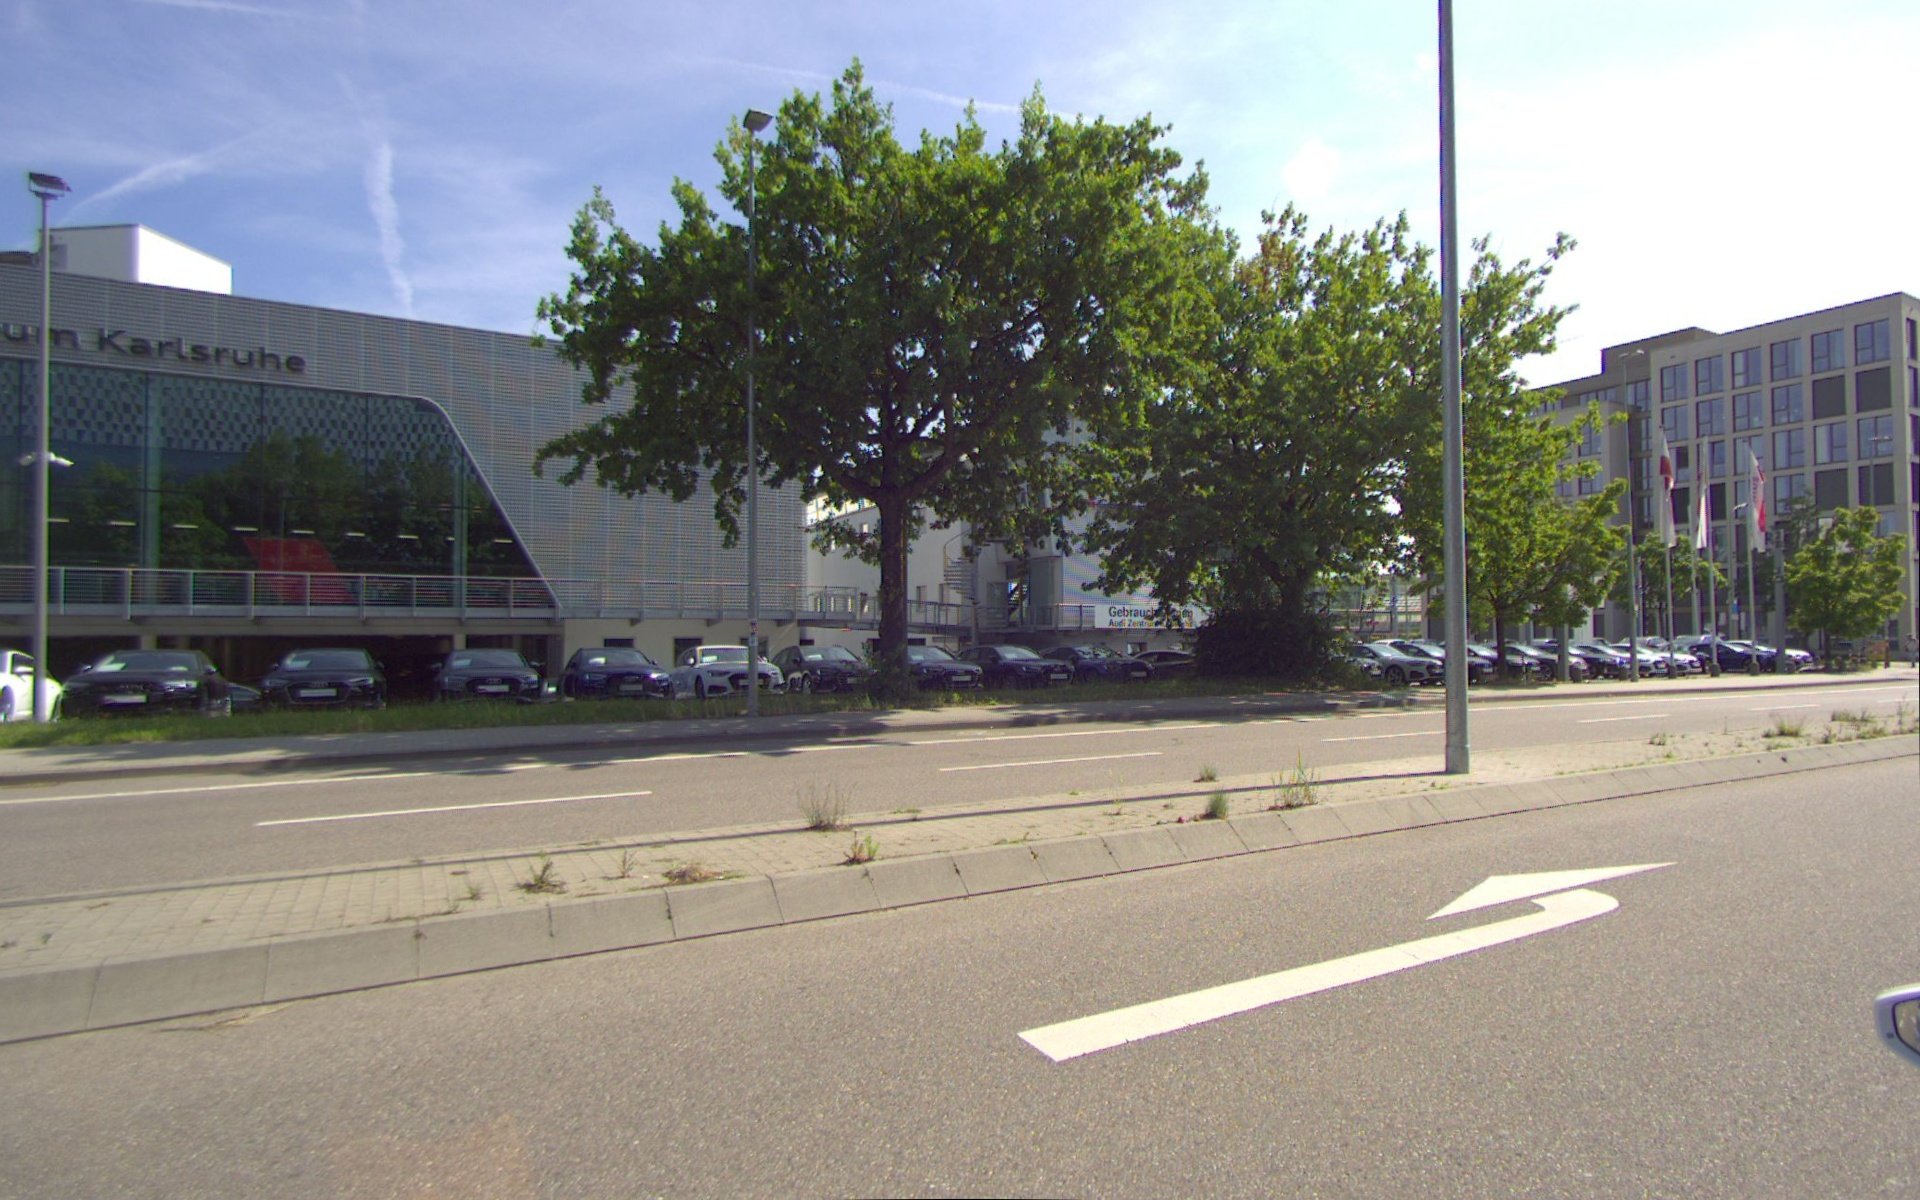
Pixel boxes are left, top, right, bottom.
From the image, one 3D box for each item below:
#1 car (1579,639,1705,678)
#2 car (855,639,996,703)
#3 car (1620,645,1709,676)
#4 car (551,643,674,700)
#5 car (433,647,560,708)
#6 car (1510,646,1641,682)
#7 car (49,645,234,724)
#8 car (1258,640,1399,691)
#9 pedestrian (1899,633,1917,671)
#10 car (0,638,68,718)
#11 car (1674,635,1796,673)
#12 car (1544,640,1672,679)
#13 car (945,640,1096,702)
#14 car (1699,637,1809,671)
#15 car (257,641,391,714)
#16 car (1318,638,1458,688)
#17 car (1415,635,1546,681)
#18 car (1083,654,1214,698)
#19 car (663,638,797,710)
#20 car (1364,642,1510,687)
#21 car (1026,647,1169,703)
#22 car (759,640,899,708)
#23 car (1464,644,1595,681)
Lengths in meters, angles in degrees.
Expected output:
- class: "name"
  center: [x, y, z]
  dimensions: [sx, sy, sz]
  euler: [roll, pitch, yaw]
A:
- class: "car"
  center: [27.811, 2.423, 41.110]
  dimensions: [1.725, 1.382, 3.864]
  euler: [0, -5, -26]
- class: "car"
  center: [-0.987, 1.850, 25.694]
  dimensions: [1.975, 1.460, 4.125]
  euler: [1, -6, -28]
- class: "car"
  center: [30.777, 2.649, 43.873]
  dimensions: [3.387, 1.189, 1.850]
  euler: [0, -5, -29]
- class: "car"
  center: [-7.505, 1.567, 21.460]
  dimensions: [1.678, 1.047, 4.089]
  euler: [1, -6, -31]
- class: "car"
  center: [-9.536, 1.621, 20.503]
  dimensions: [1.933, 1.091, 4.155]
  euler: [1, -6, -31]
- class: "car"
  center: [23.538, 2.484, 38.569]
  dimensions: [1.886, 1.181, 3.864]
  euler: [0, -5, -26]
- class: "car"
  center: [-14.317, 1.521, 17.841]
  dimensions: [1.933, 1.205, 4.155]
  euler: [1, -6, -31]
- class: "car"
  center: [11.611, 2.107, 31.890]
  dimensions: [1.886, 1.437, 3.977]
  euler: [0, -5, -26]
- class: "pedestrian"
  center: [50.833, 2.773, 53.879]
  dimensions: [0.569, 2.040, 0.556]
  euler: [1, -1, -28]
- class: "car"
  center: [-16.551, 1.357, 16.604]
  dimensions: [1.933, 1.205, 4.155]
  euler: [1, -6, -31]
- class: "car"
  center: [34.694, 2.436, 45.059]
  dimensions: [1.844, 1.483, 3.862]
  euler: [0, -5, -27]
- class: "car"
  center: [25.645, 2.391, 39.889]
  dimensions: [1.824, 1.350, 3.864]
  euler: [0, -5, -26]
- class: "car"
  center: [1.513, 1.937, 26.917]
  dimensions: [2.027, 1.460, 4.288]
  euler: [1, -6, -29]
- class: "car"
  center: [36.367, 2.507, 46.088]
  dimensions: [1.620, 1.375, 3.581]
  euler: [0, -5, -28]
- class: "car"
  center: [-11.977, 1.511, 19.078]
  dimensions: [1.933, 1.205, 4.155]
  euler: [1, -6, -31]
- class: "car"
  center: [13.900, 2.093, 32.836]
  dimensions: [1.886, 1.437, 3.864]
  euler: [0, -5, -26]
- class: "car"
  center: [18.436, 2.090, 35.768]
  dimensions: [1.637, 1.437, 3.864]
  euler: [0, -5, -26]
- class: "car"
  center: [6.210, 2.517, 33.210]
  dimensions: [3.930, 1.272, 1.588]
  euler: [-5, -5, 29]
- class: "car"
  center: [-5.298, 1.715, 22.738]
  dimensions: [1.975, 1.460, 3.973]
  euler: [1, -6, -28]
- class: "car"
  center: [16.320, 2.252, 34.603]
  dimensions: [2.010, 1.348, 4.156]
  euler: [0, -5, -26]
- class: "car"
  center: [3.739, 2.127, 28.068]
  dimensions: [1.975, 1.376, 3.973]
  euler: [1, -6, -28]
- class: "car"
  center: [-3.269, 1.829, 24.301]
  dimensions: [1.975, 1.460, 4.233]
  euler: [1, -6, -28]
- class: "car"
  center: [21.006, 2.349, 37.199]
  dimensions: [1.771, 1.167, 3.864]
  euler: [0, -5, -26]
